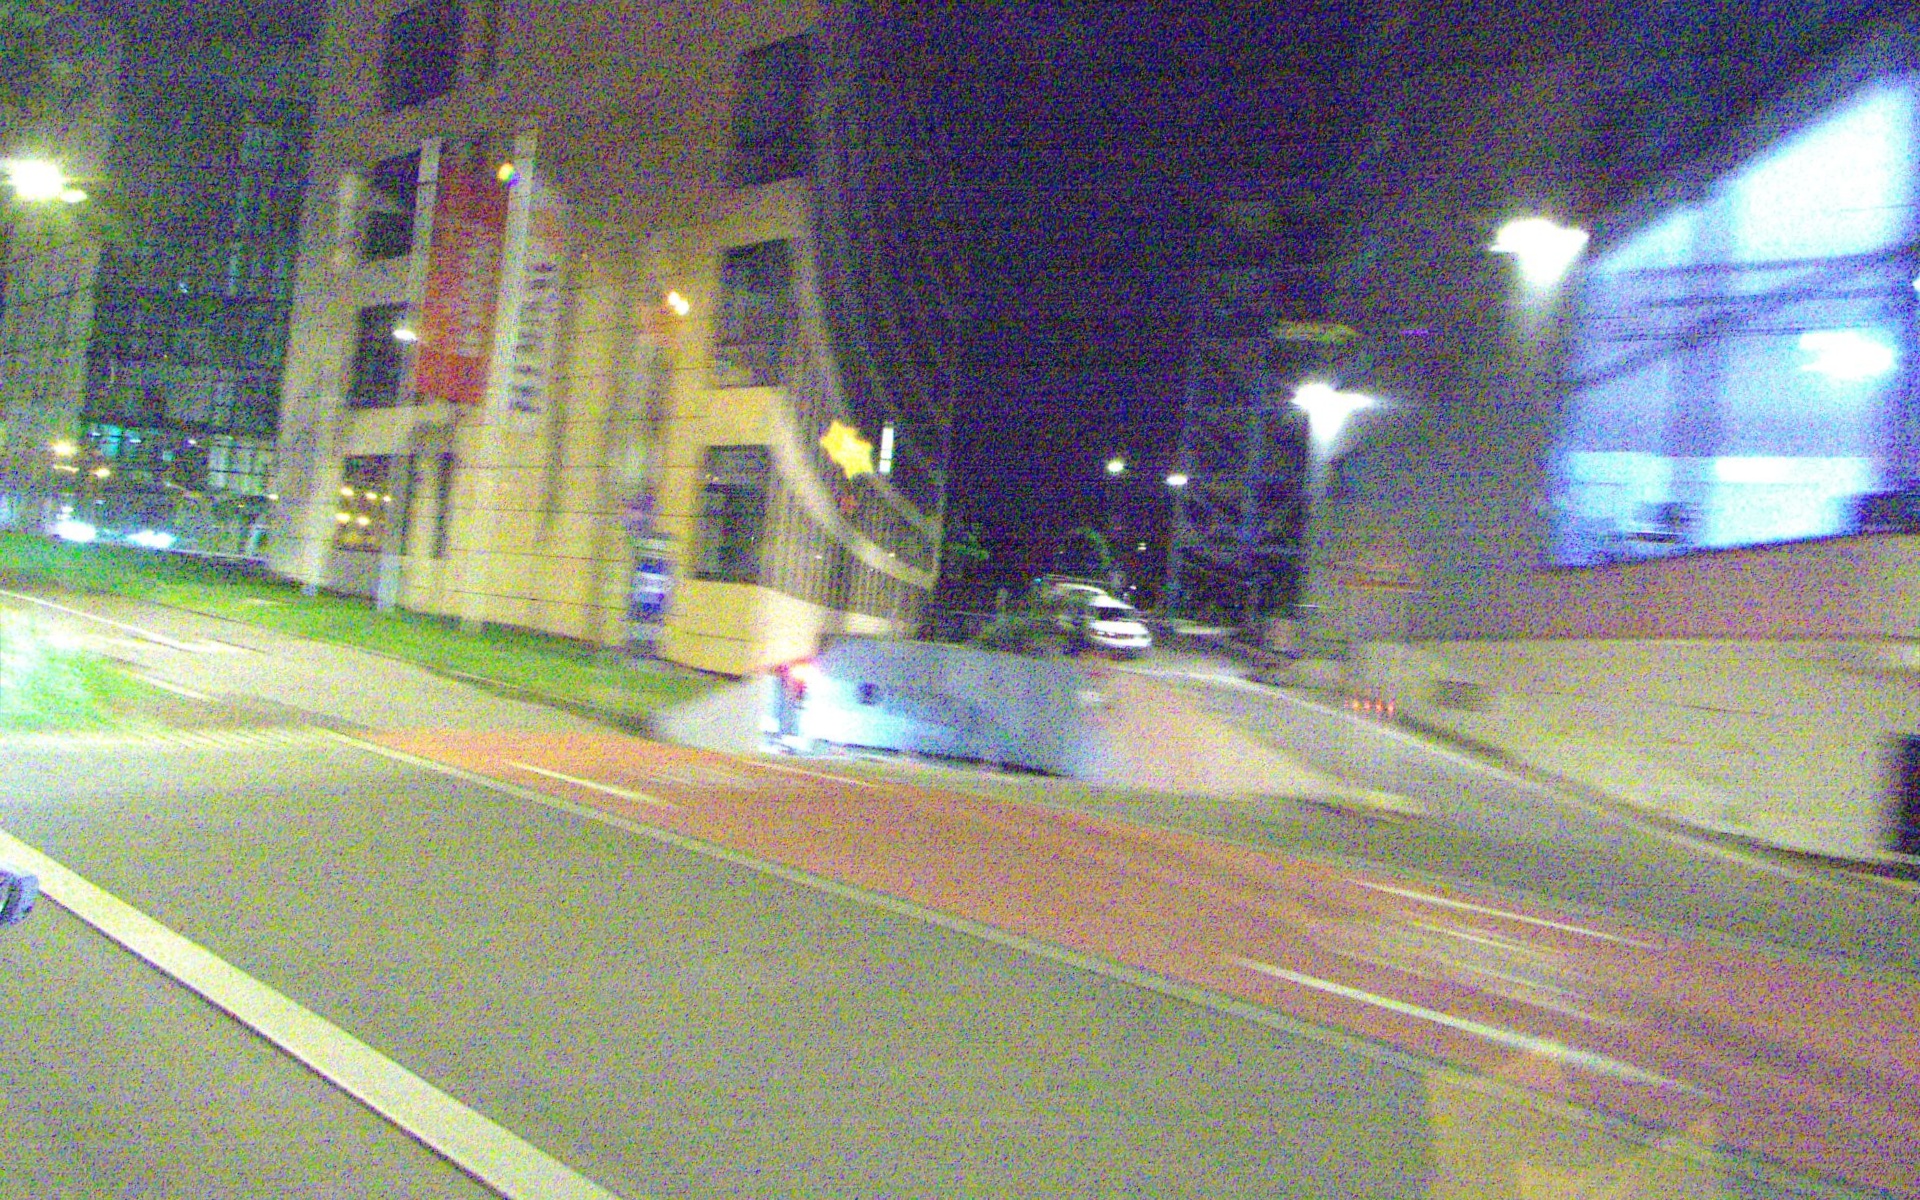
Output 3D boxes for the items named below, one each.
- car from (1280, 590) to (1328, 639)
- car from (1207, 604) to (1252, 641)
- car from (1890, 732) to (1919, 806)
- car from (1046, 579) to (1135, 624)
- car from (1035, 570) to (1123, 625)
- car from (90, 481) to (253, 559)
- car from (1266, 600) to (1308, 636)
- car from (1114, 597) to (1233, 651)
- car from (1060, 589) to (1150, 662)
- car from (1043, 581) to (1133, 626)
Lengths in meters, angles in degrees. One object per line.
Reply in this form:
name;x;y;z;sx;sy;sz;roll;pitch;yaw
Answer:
car;17.620;0.795;51.484;1.668;2.037;4.116;7;-1;25
car;15.638;1.353;58.252;1.668;1.711;3.717;7;-2;25
car;28.209;4.928;27.946;2.038;2.037;4.598;7;-2;26
car;7.019;0.092;54.193;4.435;1.742;2.002;8;-1;8
car;5.743;-0.110;48.540;3.924;2.037;2.002;8;-1;8
car;-26.053;-2.602;33.422;1.962;1.884;3.781;8;-1;8
car;18.687;1.052;57.418;1.624;1.636;3.716;7;-1;25
car;7.792;0.846;36.979;3.923;1.672;1.786;3;4;2
car;4.652;0.769;32.791;1.604;1.685;3.982;3;7;-10
car;6.508;0.206;51.293;4.304;1.663;1.868;8;-1;8
